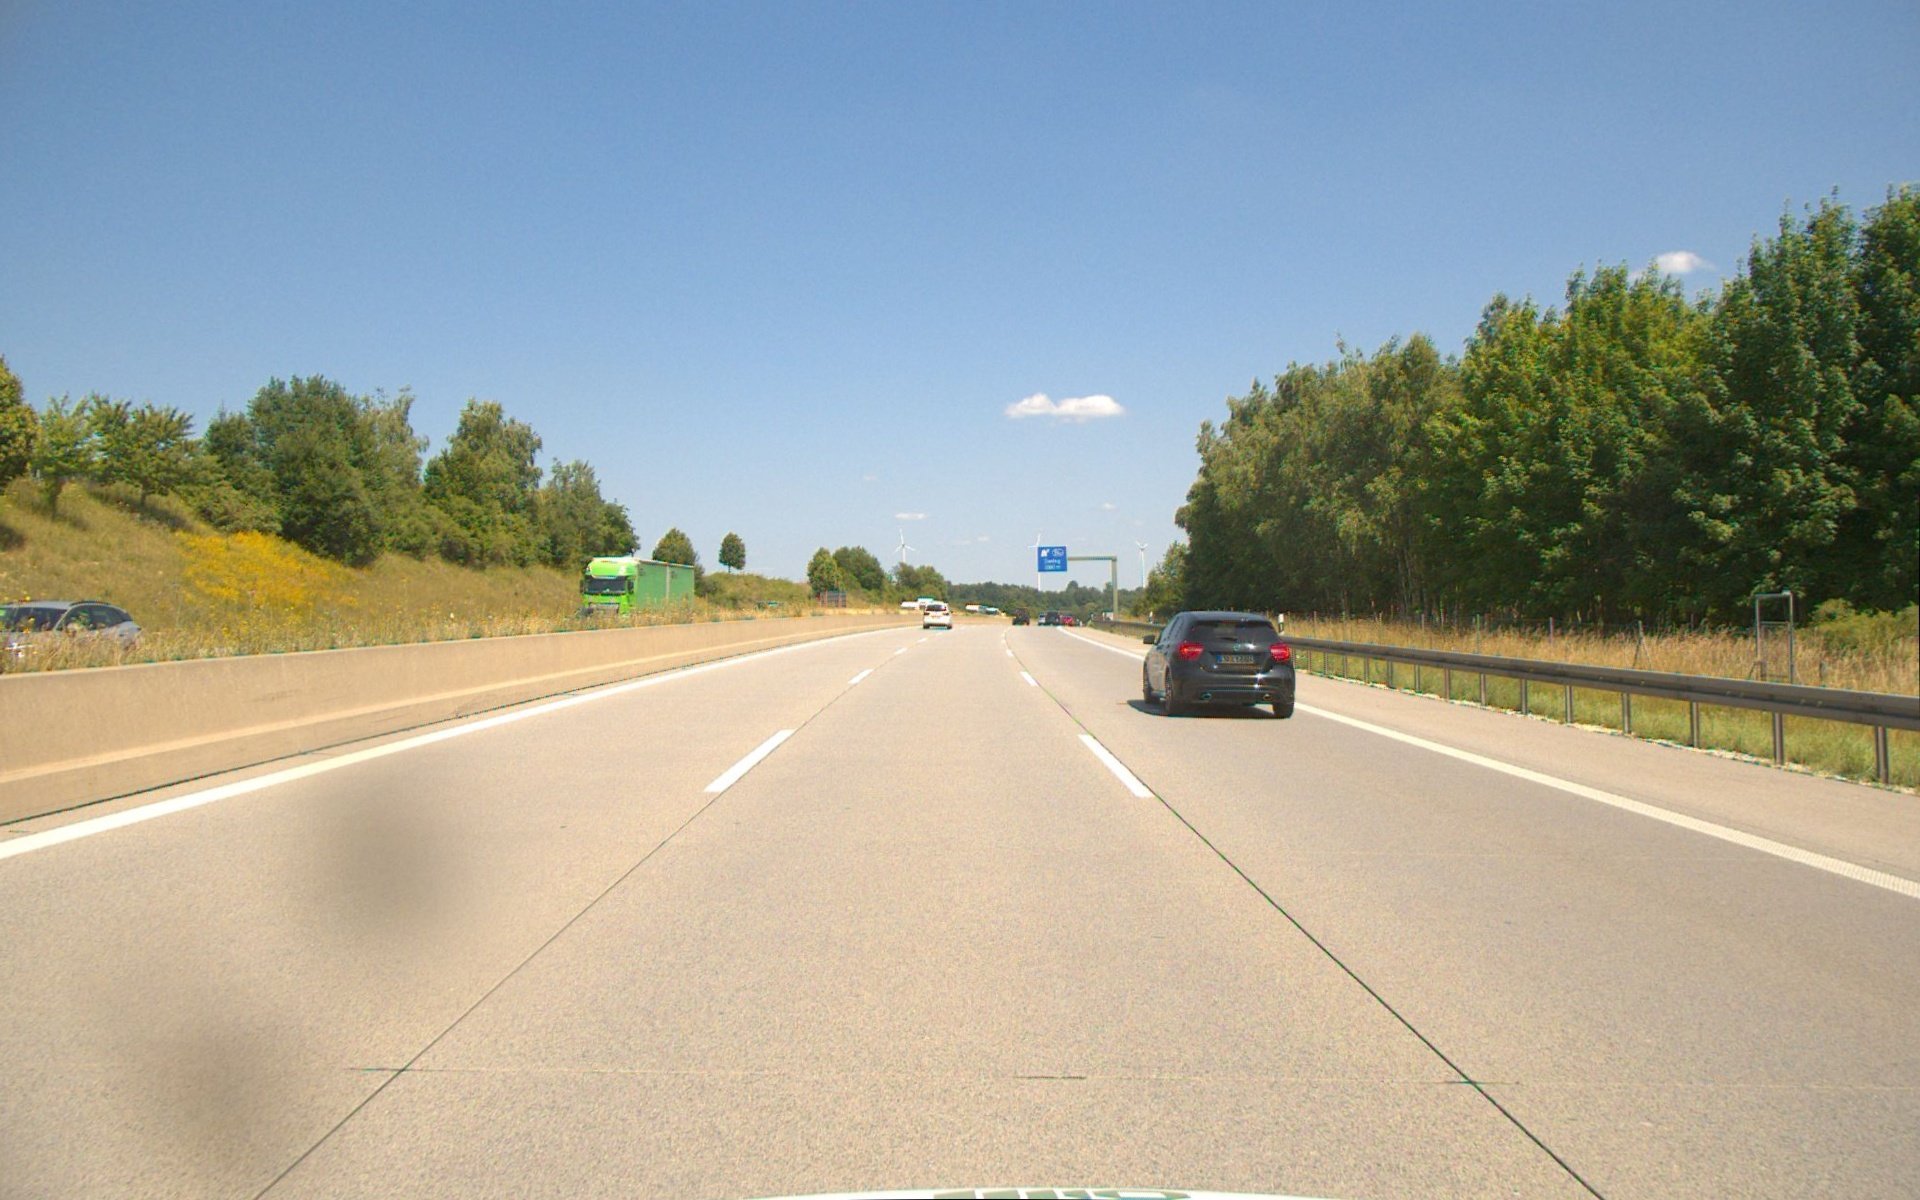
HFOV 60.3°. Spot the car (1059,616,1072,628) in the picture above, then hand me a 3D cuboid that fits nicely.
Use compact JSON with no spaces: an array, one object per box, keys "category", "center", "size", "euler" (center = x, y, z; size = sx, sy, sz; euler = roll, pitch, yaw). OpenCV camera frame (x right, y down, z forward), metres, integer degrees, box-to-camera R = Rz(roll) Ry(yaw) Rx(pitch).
[{"category":"car","center":[16.094,3.353,253.511],"size":[1.751,1.842,3.745],"euler":[0,0,0]}]

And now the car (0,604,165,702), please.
[{"category":"car","center":[-16.217,0.882,29.661],"size":[1.691,1.612,4.644],"euler":[0,0,0]}]

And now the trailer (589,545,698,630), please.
[{"category":"trailer","center":[-18.866,-0.694,99.972],"size":[3.091,4.688,16.439],"euler":[0,0,1]}]

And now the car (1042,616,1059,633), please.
[{"category":"car","center":[10.240,2.748,187.448],"size":[1.789,1.940,4.000],"euler":[0,0,0]}]

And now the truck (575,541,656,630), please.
[{"category":"truck","center":[-19.026,-0.776,91.754],"size":[3.026,4.743,6.265],"euler":[1,0,1]}]

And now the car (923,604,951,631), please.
[{"category":"car","center":[-1.541,1.158,111.128],"size":[1.808,1.738,6.035],"euler":[1,0,-1]}]

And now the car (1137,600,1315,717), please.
[{"category":"car","center":[3.790,0.787,24.247],"size":[1.871,1.518,4.191],"euler":[1,0,-1]}]

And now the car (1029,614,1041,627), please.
[{"category":"car","center":[11.825,3.199,260.246],"size":[1.708,2.025,4.000],"euler":[0,0,0]}]
